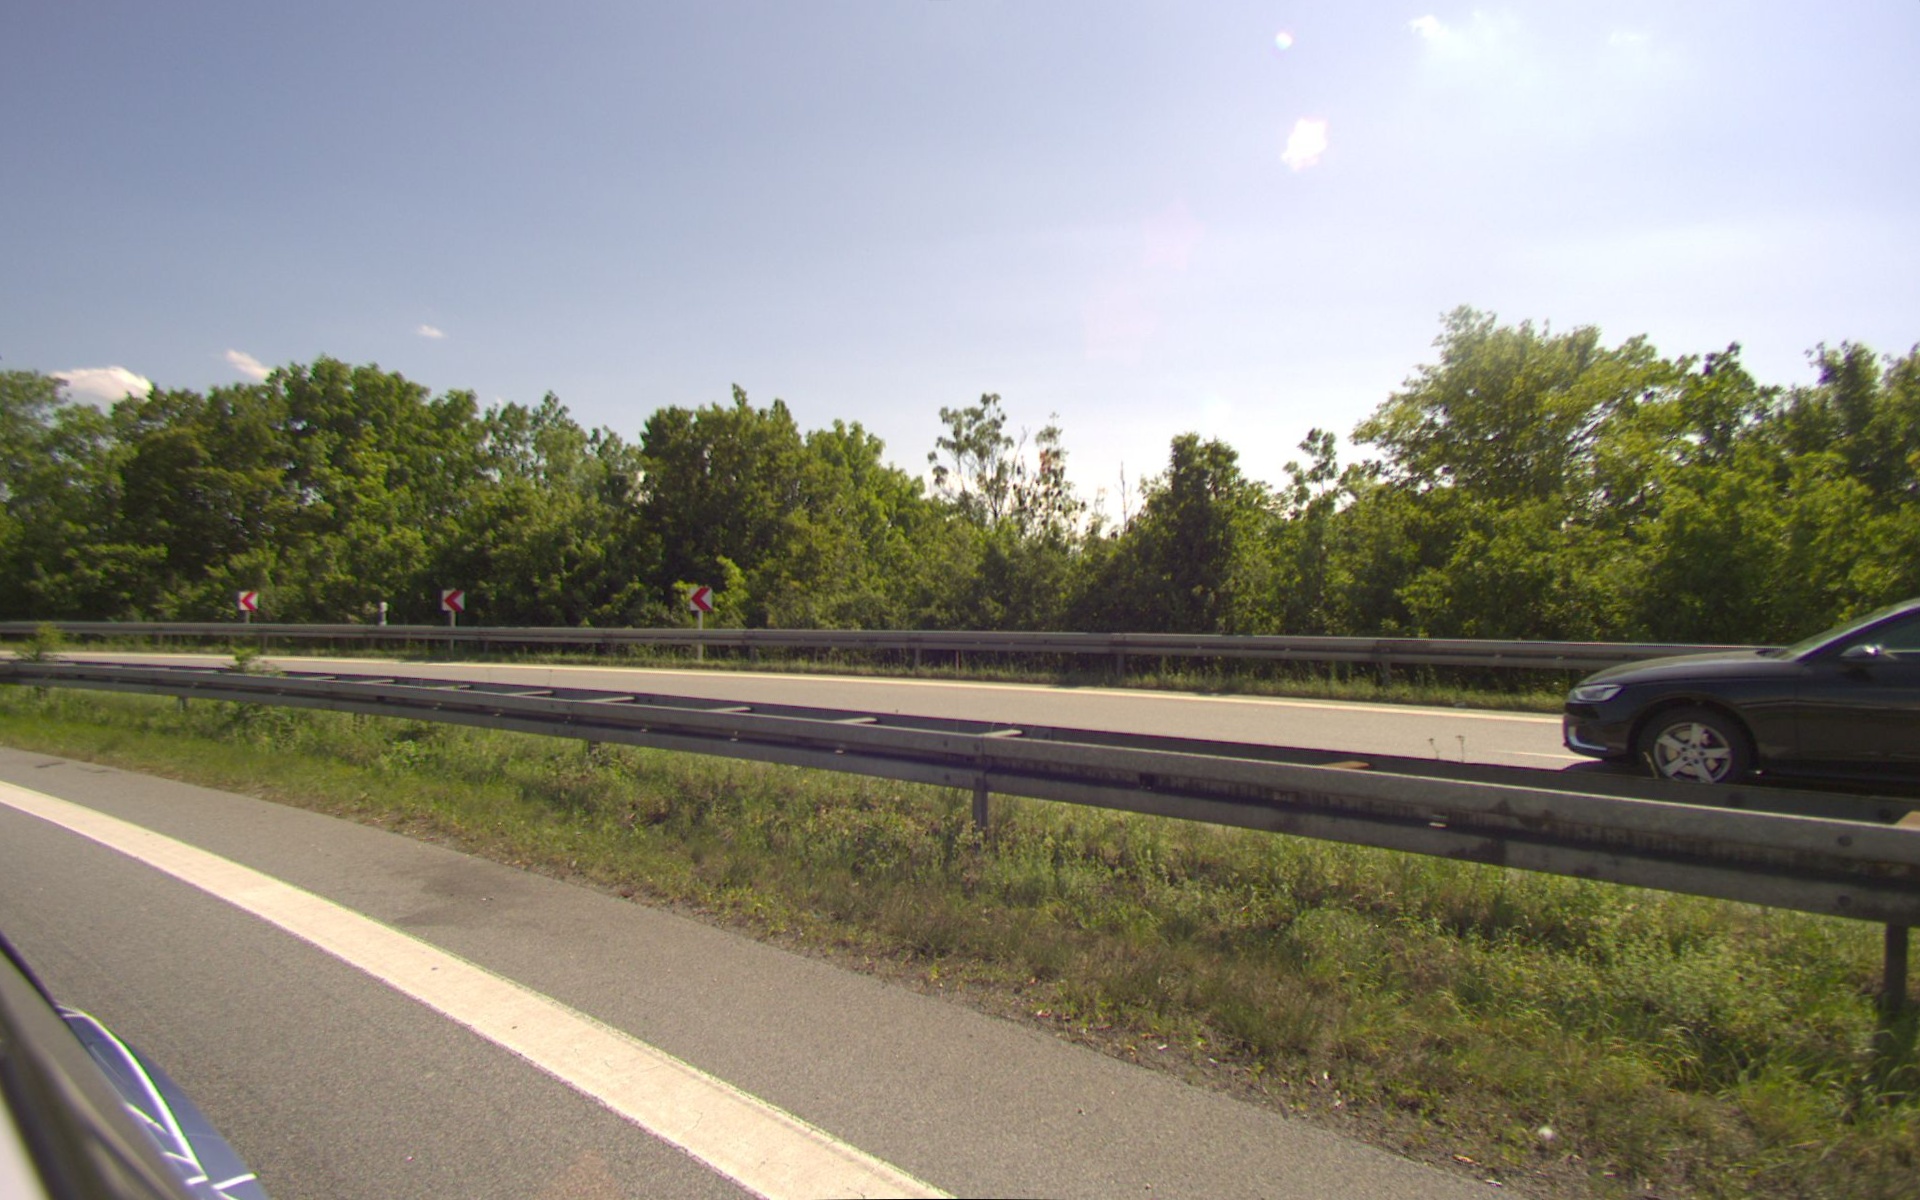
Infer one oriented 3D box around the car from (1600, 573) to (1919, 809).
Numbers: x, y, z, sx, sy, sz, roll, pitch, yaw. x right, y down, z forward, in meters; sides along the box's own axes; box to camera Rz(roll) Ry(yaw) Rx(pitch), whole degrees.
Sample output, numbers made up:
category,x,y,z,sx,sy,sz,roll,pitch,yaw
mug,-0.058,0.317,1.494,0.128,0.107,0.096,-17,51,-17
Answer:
category,x,y,z,sx,sy,sz,roll,pitch,yaw
car,6.999,0.536,6.447,4.702,1.459,1.774,-1,0,43
